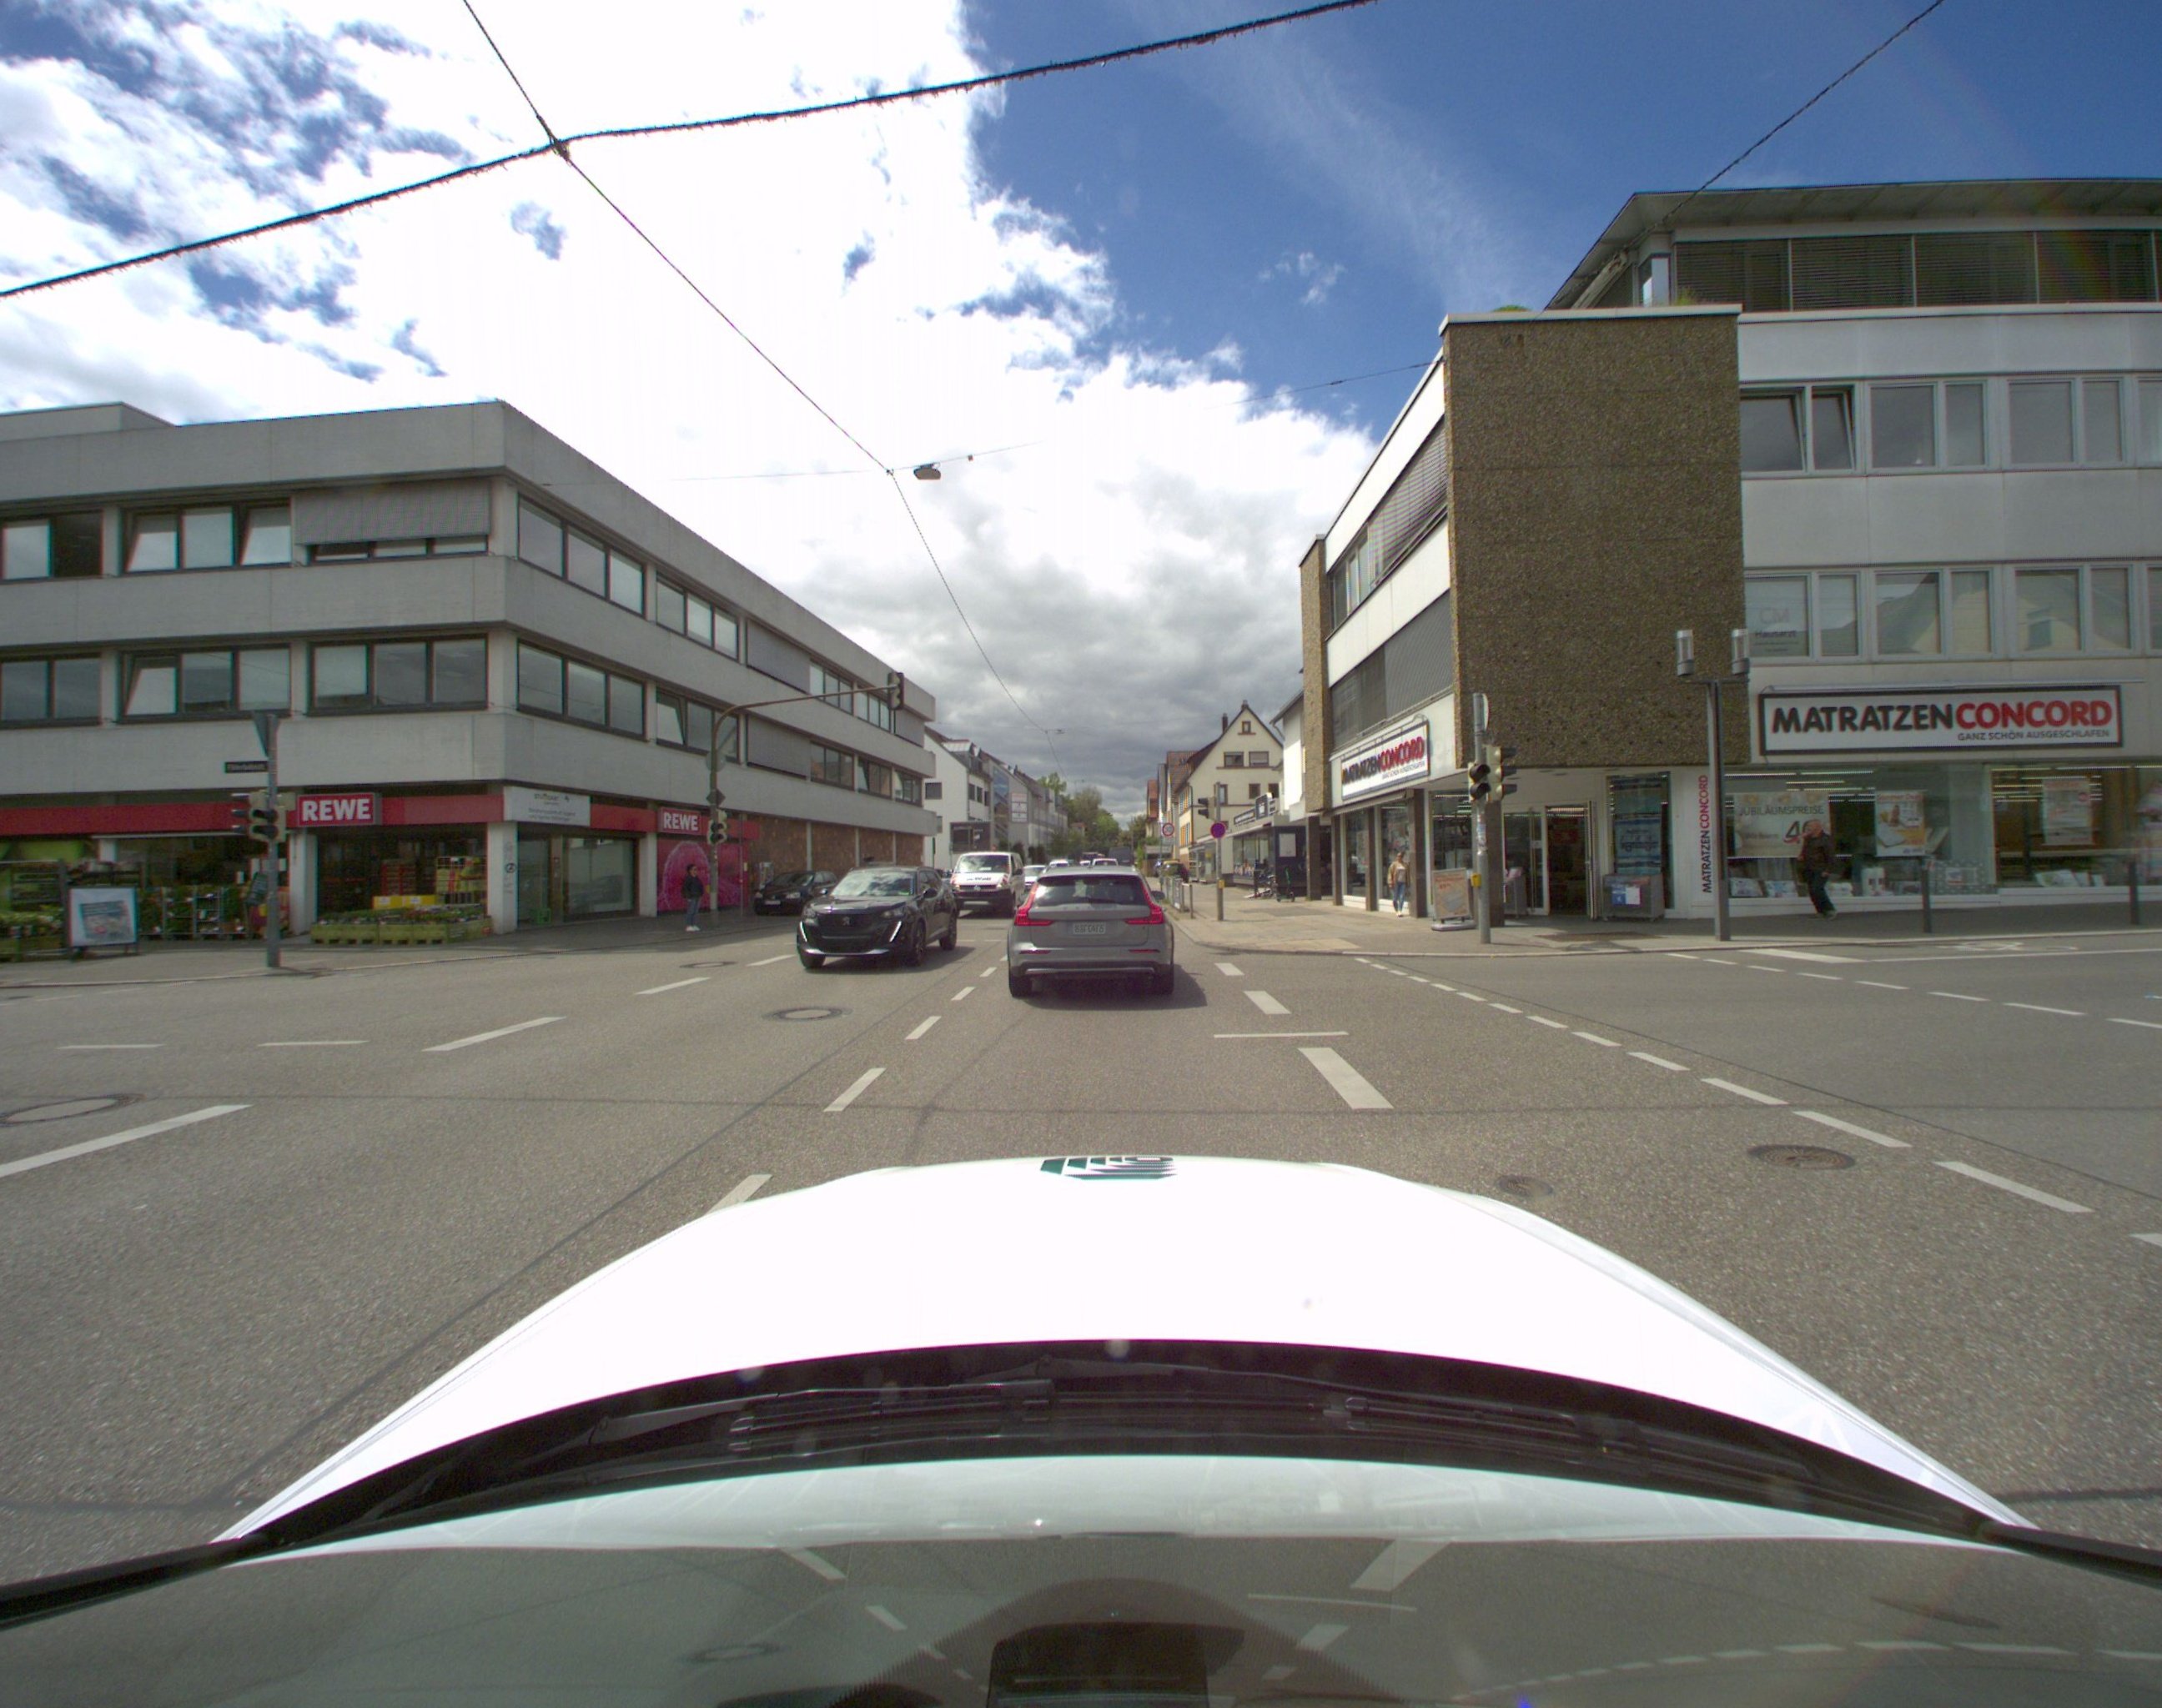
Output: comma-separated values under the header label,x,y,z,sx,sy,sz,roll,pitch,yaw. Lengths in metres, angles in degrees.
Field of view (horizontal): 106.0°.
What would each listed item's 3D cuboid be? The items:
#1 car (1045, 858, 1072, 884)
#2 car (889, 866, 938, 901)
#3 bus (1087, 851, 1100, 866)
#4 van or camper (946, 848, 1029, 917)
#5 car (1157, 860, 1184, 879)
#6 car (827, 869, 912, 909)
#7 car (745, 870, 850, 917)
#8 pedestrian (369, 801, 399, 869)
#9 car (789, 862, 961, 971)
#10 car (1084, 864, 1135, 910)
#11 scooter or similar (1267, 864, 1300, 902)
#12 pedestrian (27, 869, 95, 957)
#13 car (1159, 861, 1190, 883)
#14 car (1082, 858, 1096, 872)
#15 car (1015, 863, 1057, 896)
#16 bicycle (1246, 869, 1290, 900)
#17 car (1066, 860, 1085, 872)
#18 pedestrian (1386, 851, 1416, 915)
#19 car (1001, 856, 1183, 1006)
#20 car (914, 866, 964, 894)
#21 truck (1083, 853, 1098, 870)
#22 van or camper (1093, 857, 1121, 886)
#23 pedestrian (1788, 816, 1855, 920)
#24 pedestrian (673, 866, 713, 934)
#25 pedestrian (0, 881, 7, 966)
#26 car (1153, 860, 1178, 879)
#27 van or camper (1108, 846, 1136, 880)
label,x,y,z,sx,sy,sz,roll,pitch,yaw
car,-1.704,1.312,62.874,1.831,1.917,4.156,0,-1,1
car,-7.972,1.389,38.921,1.601,1.543,2.946,1,0,2
bus,2.490,0.838,158.175,2.267,2.668,7.434,-2,0,3
van or camper,-2.790,0.801,25.227,1.858,1.898,4.694,-1,0,2
car,7.091,1.234,64.971,1.875,1.416,3.973,0,-2,3
car,-8.465,1.369,33.029,1.894,1.443,4.450,0,0,6
car,-9.484,1.277,27.591,1.776,1.464,4.093,0,-1,5
pedestrian,-18.437,-0.486,21.548,0.389,1.739,0.773,1,-3,-27
car,-3.197,0.902,13.446,1.676,1.497,3.968,-2,-1,2
car,0.966,1.104,28.310,1.644,1.482,3.608,0,-1,1
scooter or similar,7.020,1.013,28.276,0.342,1.253,1.236,-3,-1,-24
pedestrian,-20.977,1.194,16.764,0.623,1.776,0.551,1,-3,-24
car,6.406,1.288,56.266,1.705,1.464,3.998,0,-2,0
car,1.100,1.586,115.304,1.790,1.816,4.002,0,-2,3
car,-2.249,1.256,41.372,1.662,1.554,4.217,-1,-1,3
bicycle,7.139,1.140,31.230,0.555,1.144,2.287,-2,-1,-16
car,-0.657,1.430,98.034,1.753,1.426,4.007,-2,0,6
pedestrian,7.518,0.675,19.172,0.500,1.459,0.502,-4,-2,15
car,0.159,0.814,10.275,1.829,1.486,4.001,-1,-1,1
car,-7.828,1.401,45.191,1.747,1.426,3.866,-2,0,4
truck,1.719,1.328,140.996,2.267,2.886,7.083,-2,-1,3
van or camper,1.779,1.220,55.667,1.813,1.835,4.000,-1,-3,1
pedestrian,12.591,0.239,13.856,0.582,1.705,0.614,-4,-1,-30
pedestrian,-9.656,1.131,20.265,0.616,1.641,0.661,-2,-1,3
pedestrian,-20.539,1.297,14.931,0.726,1.597,0.690,1,-3,-25
car,7.189,1.336,69.770,1.875,1.500,3.973,0,-2,3
van or camper,3.418,0.782,68.112,2.115,2.686,4.784,-2,-1,3
